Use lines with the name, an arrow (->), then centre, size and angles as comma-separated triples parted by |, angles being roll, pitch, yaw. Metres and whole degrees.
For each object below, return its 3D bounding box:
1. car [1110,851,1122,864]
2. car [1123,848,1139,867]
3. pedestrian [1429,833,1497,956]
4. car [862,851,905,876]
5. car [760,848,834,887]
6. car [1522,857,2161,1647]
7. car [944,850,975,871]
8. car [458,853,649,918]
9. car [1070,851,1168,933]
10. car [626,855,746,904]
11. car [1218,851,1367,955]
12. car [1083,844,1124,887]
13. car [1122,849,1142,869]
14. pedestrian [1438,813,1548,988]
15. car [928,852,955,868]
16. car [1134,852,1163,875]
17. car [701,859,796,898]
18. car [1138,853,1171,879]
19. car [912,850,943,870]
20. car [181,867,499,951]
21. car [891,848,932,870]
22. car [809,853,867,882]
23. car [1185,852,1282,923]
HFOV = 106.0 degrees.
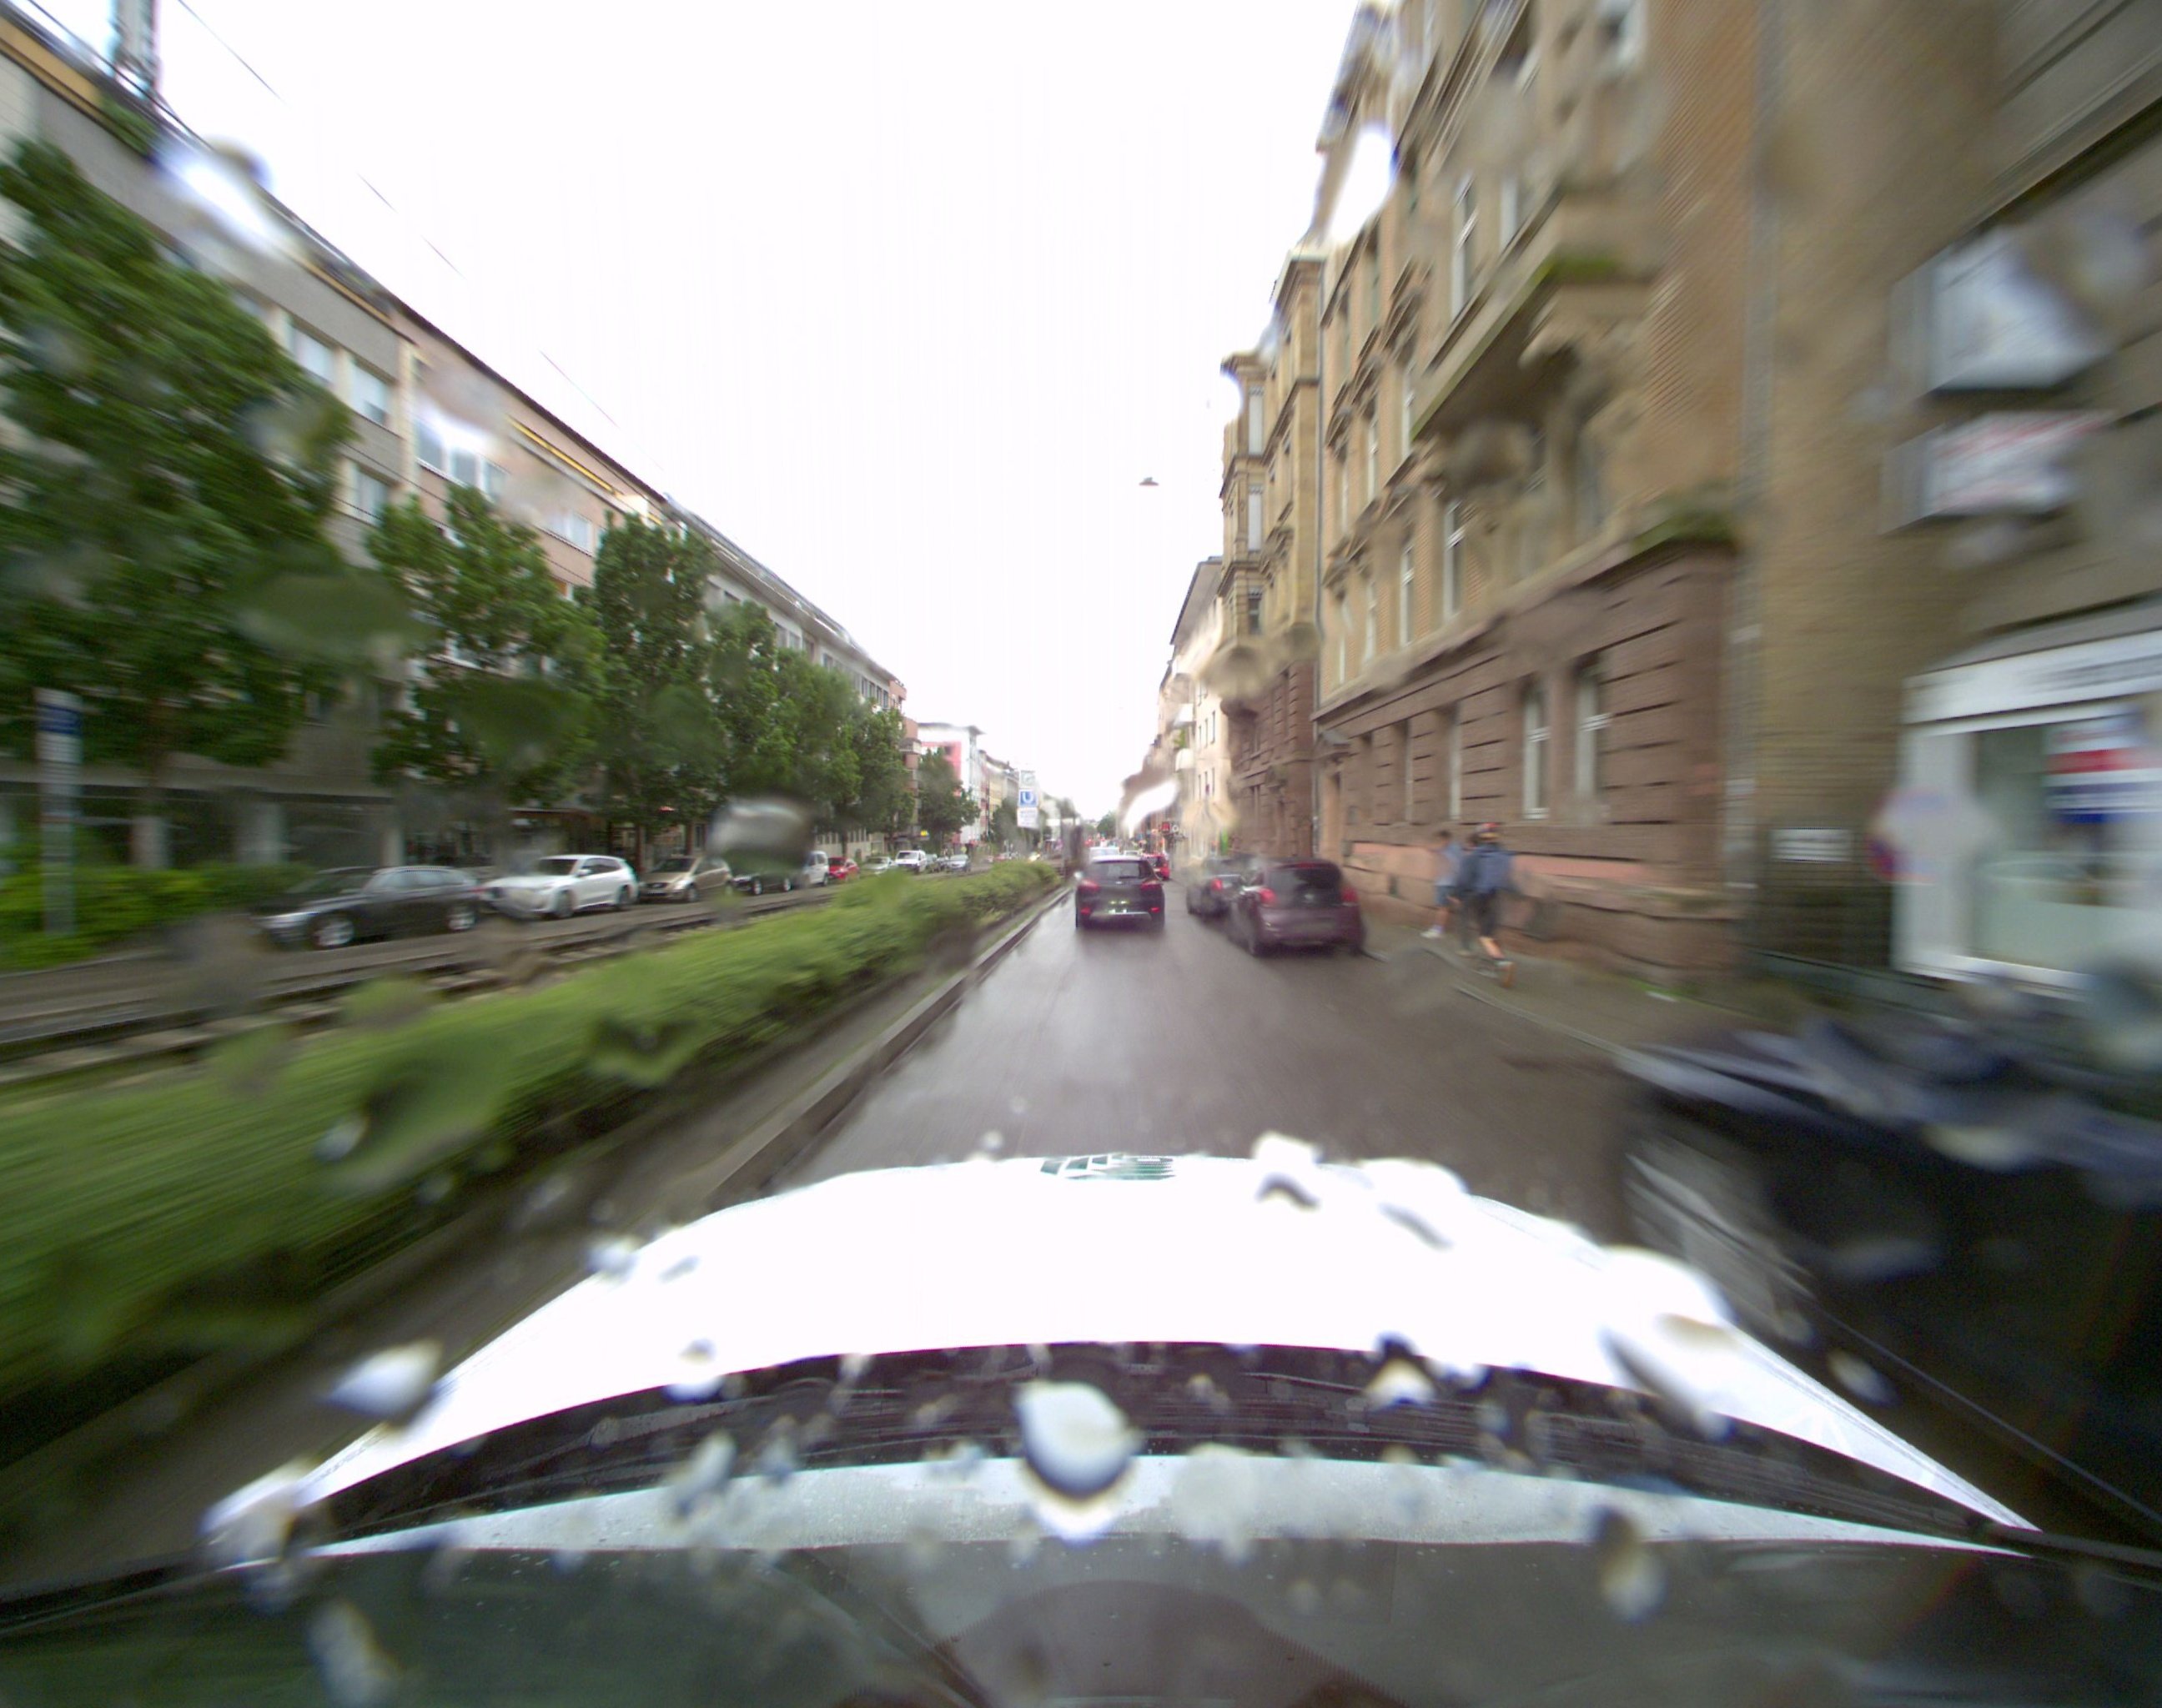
car -> 5.819, 0.604, 135.002 | 1.986, 2.014, 4.001 | 2, -1, 2
car -> 5.189, 0.381, 85.022 | 1.585, 1.781, 3.780 | 2, -1, 2
pedestrian -> 5.129, 0.541, 10.959 | 0.517, 1.579, 0.677 | -3, -2, 1
car -> -12.626, 0.624, 52.333 | 1.661, 1.558, 4.047 | 0, -1, 2
car -> -13.455, 0.649, 38.877 | 1.848, 1.701, 4.433 | 0, -1, 2
car -> 2.818, 0.708, 1.393 | 1.786, 1.407, 4.255 | 0, -1, -1
car -> -10.081, 0.567, 67.910 | 1.848, 1.637, 4.047 | 0, -1, 2
car -> -13.826, 0.795, 21.772 | 1.848, 1.549, 4.722 | 0, -1, 2
car -> 0.711, 0.727, 17.436 | 1.837, 1.507, 3.999 | -1, 0, 0
car -> -13.567, 0.861, 28.278 | 1.848, 1.549, 4.433 | 0, -1, 2
car -> 3.320, 0.702, 13.395 | 1.643, 1.459, 3.478 | -1, 0, 2
car -> 1.228, 0.540, 42.072 | 1.980, 2.060, 4.648 | 0, 1, 3
car -> 4.949, 0.483, 79.218 | 1.832, 1.781, 3.780 | 2, -1, 2
pedestrian -> 4.571, 0.485, 9.093 | 0.700, 1.819, 0.962 | -3, 1, 1
car -> -12.619, 0.591, 73.812 | 1.544, 1.395, 4.047 | 0, -1, 2
car -> 4.368, 0.606, 53.203 | 1.664, 1.421, 3.477 | -1, 0, 1
car -> -13.356, 0.974, 33.020 | 1.848, 1.418, 4.433 | -2, -1, 2
car -> 4.183, 0.659, 46.674 | 1.664, 1.421, 3.477 | -1, 0, 1
car -> -12.774, 0.533, 68.153 | 1.688, 1.574, 4.047 | 0, -1, 2
car -> -13.877, 0.965, 15.760 | 1.687, 1.378, 4.722 | 0, -1, 2
car -> -12.794, 0.410, 61.736 | 1.848, 1.637, 4.937 | 0, -1, 2
car -> -13.389, 0.769, 45.080 | 1.848, 1.527, 4.047 | 0, -1, 2
car -> 3.434, 0.710, 18.941 | 1.572, 1.459, 3.821 | -1, 0, 0
